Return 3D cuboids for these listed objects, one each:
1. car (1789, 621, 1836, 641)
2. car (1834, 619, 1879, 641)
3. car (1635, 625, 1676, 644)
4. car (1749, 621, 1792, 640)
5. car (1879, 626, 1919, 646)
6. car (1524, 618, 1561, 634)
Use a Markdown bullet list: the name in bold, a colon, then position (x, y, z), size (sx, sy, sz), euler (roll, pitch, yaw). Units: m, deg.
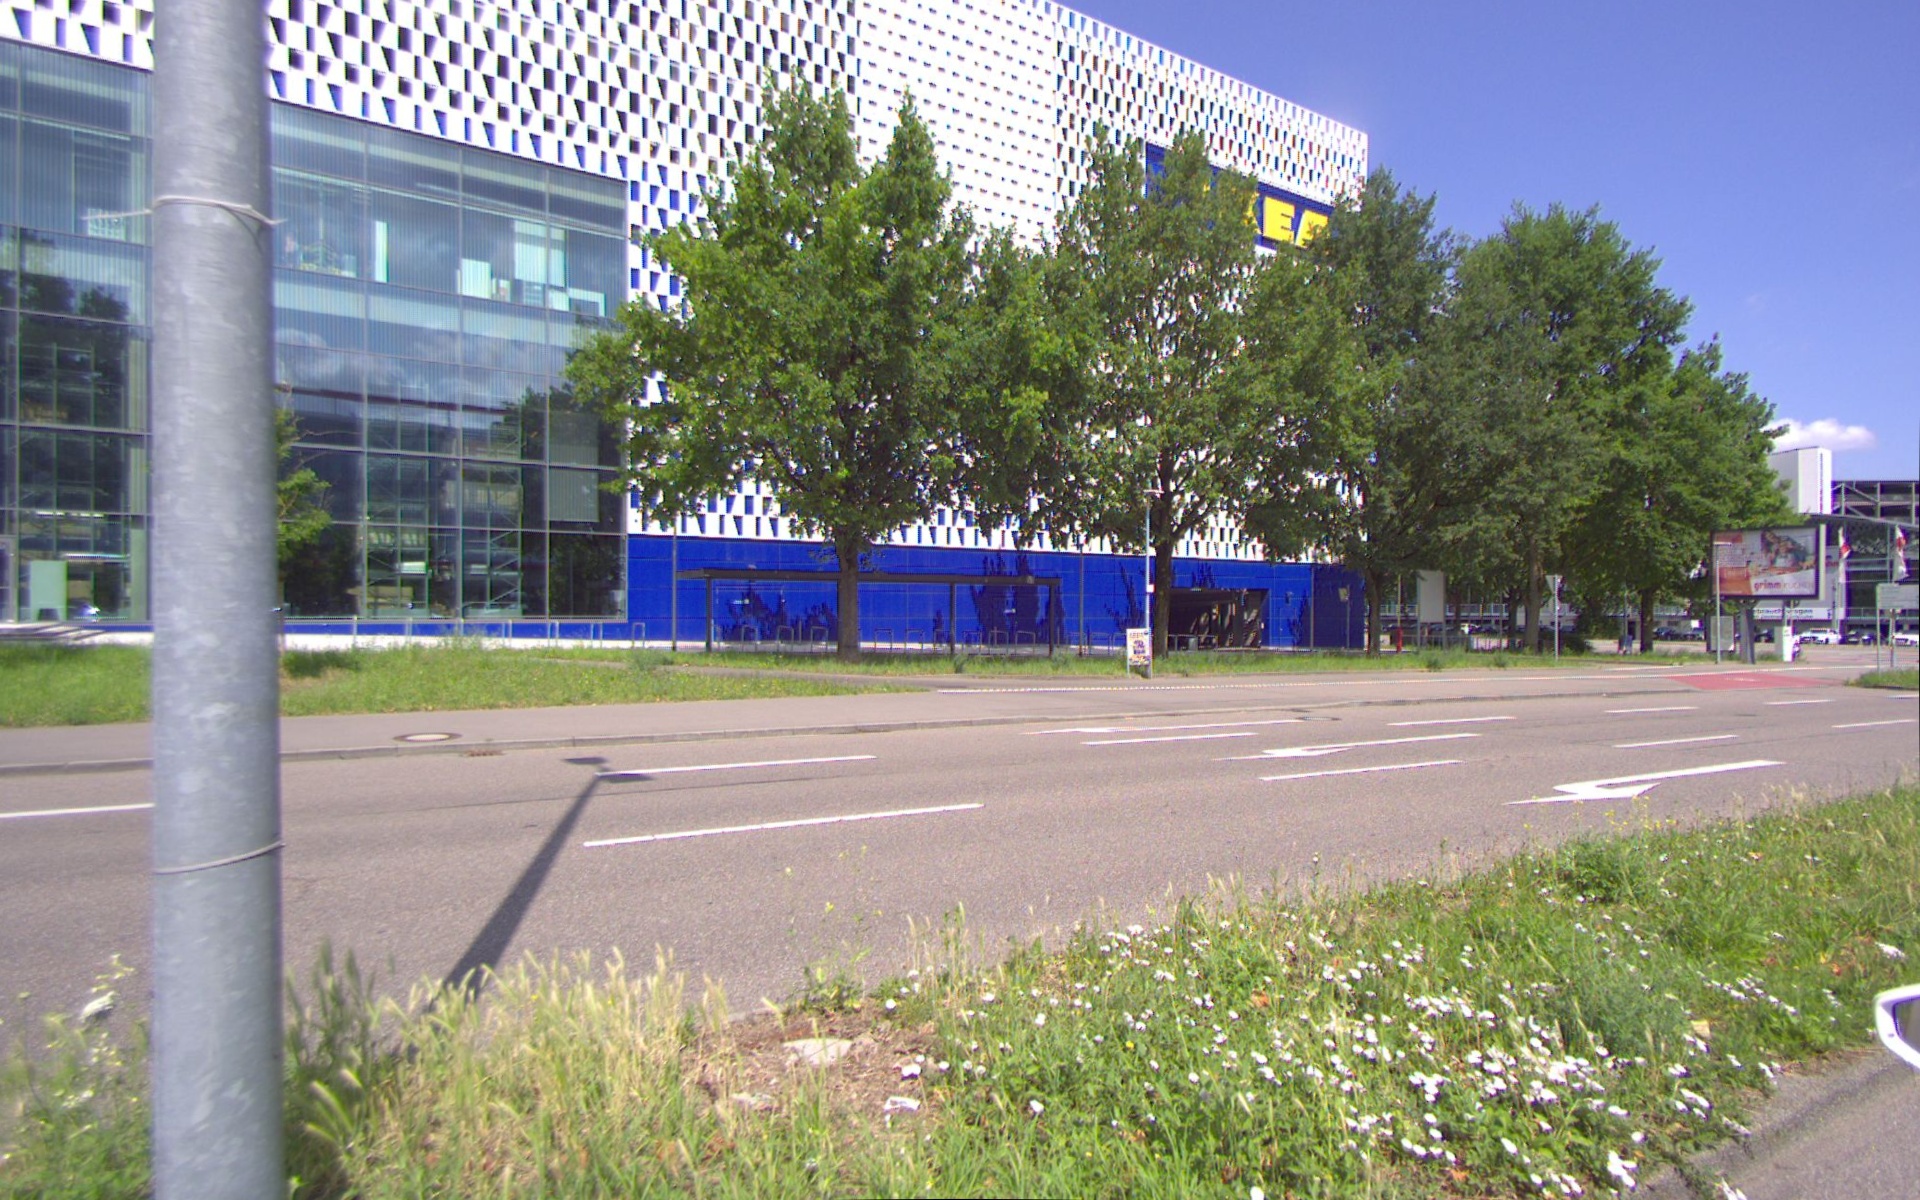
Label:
- **car**: position (68.109, 2.492, 80.244), size (3.660, 1.506, 1.868), euler (0, 0, -33)
- **car**: position (69.486, 2.308, 77.858), size (3.577, 1.682, 1.747), euler (0, 0, -33)
- **car**: position (61.326, 3.022, 88.550), size (3.662, 1.508, 1.826), euler (0, 0, -34)
- **car**: position (66.691, 2.512, 82.611), size (3.660, 1.506, 1.718), euler (0, 0, -33)
- **car**: position (71.088, 2.657, 75.619), size (3.711, 1.394, 1.897), euler (0, 0, -33)
- **car**: position (57.312, 2.509, 98.864), size (3.660, 1.506, 1.718), euler (0, 0, -33)
